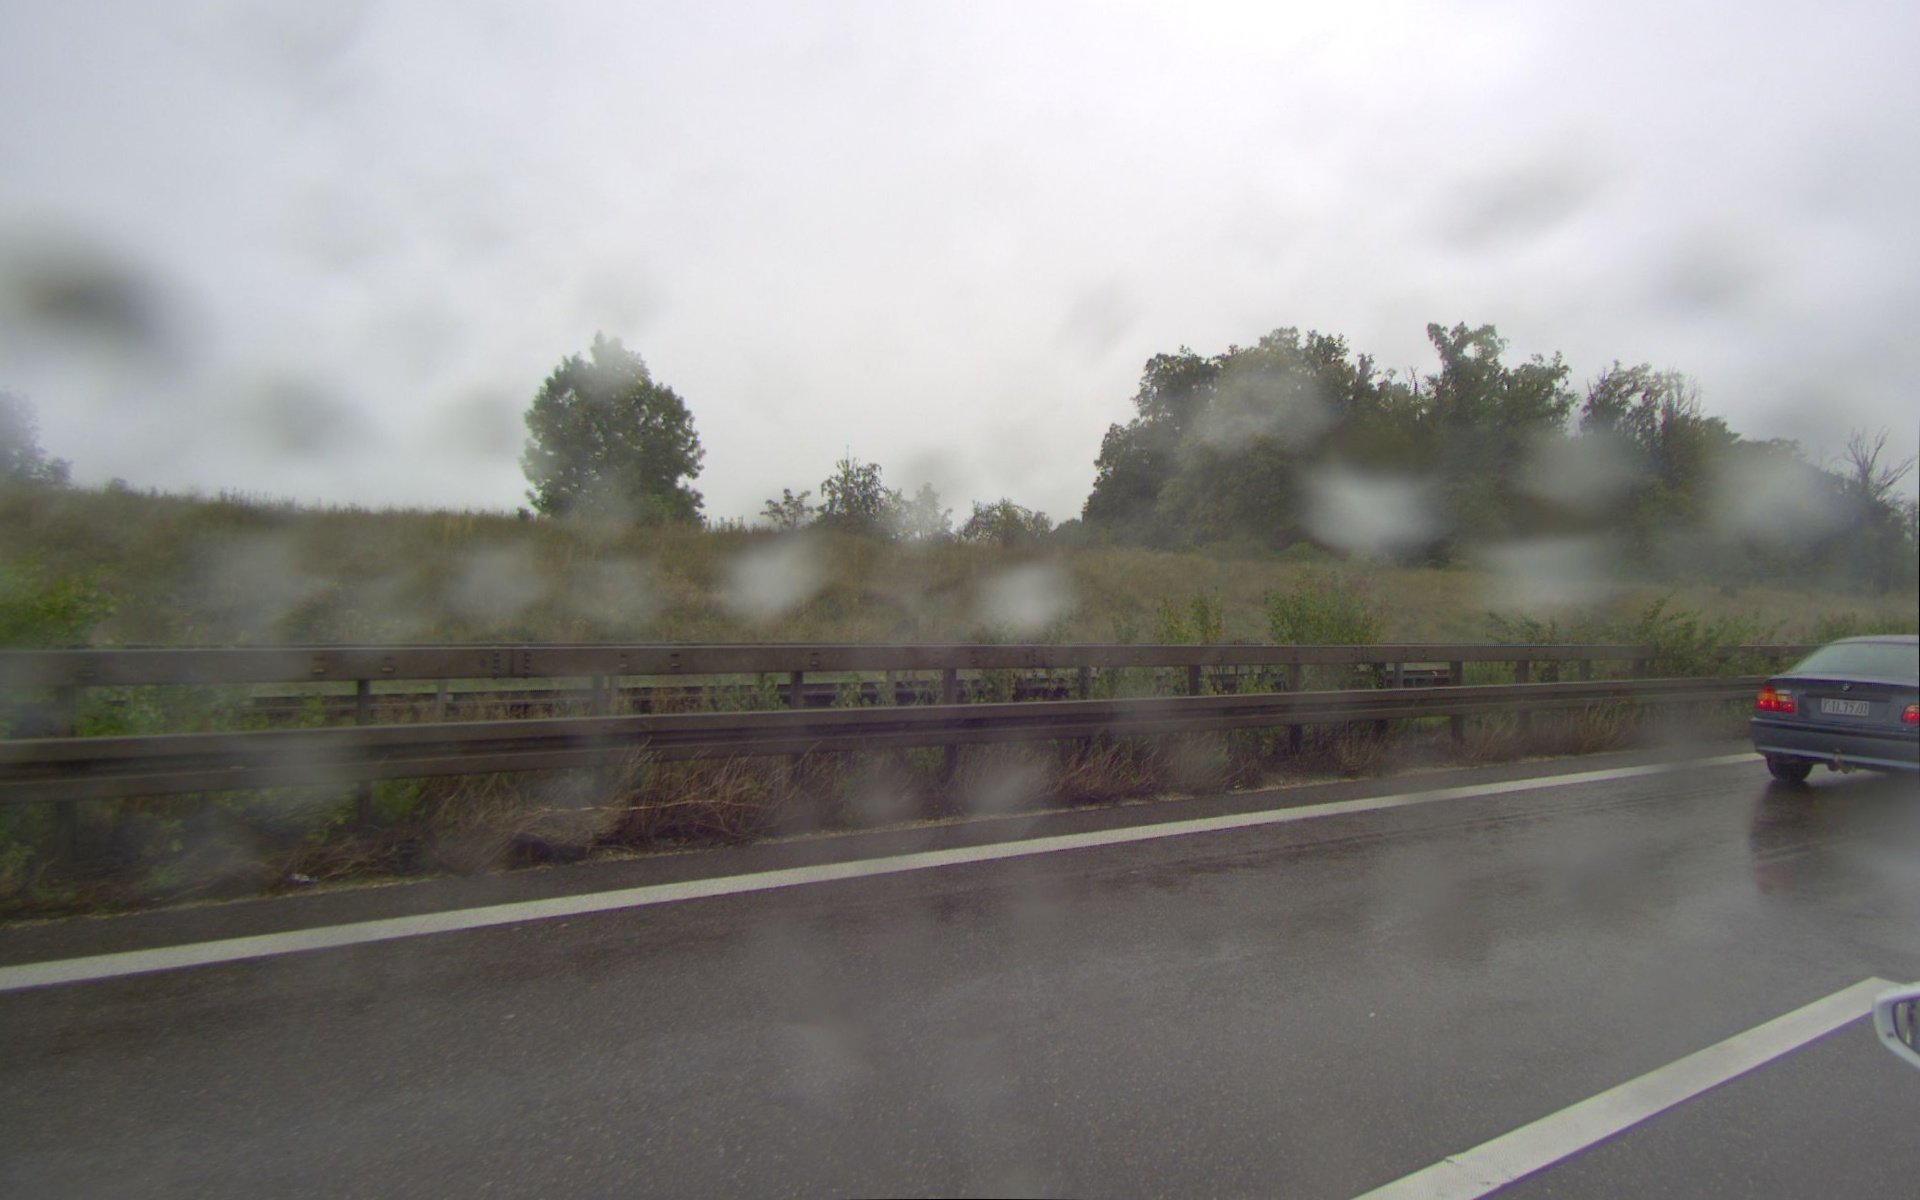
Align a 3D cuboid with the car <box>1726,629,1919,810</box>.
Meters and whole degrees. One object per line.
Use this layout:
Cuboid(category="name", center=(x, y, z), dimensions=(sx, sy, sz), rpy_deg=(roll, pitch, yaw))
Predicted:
Cuboid(category="car", center=(9.320, 1.029, 9.558), dimensions=(4.179, 1.418, 1.710), rpy_deg=(2, -1, -29))
